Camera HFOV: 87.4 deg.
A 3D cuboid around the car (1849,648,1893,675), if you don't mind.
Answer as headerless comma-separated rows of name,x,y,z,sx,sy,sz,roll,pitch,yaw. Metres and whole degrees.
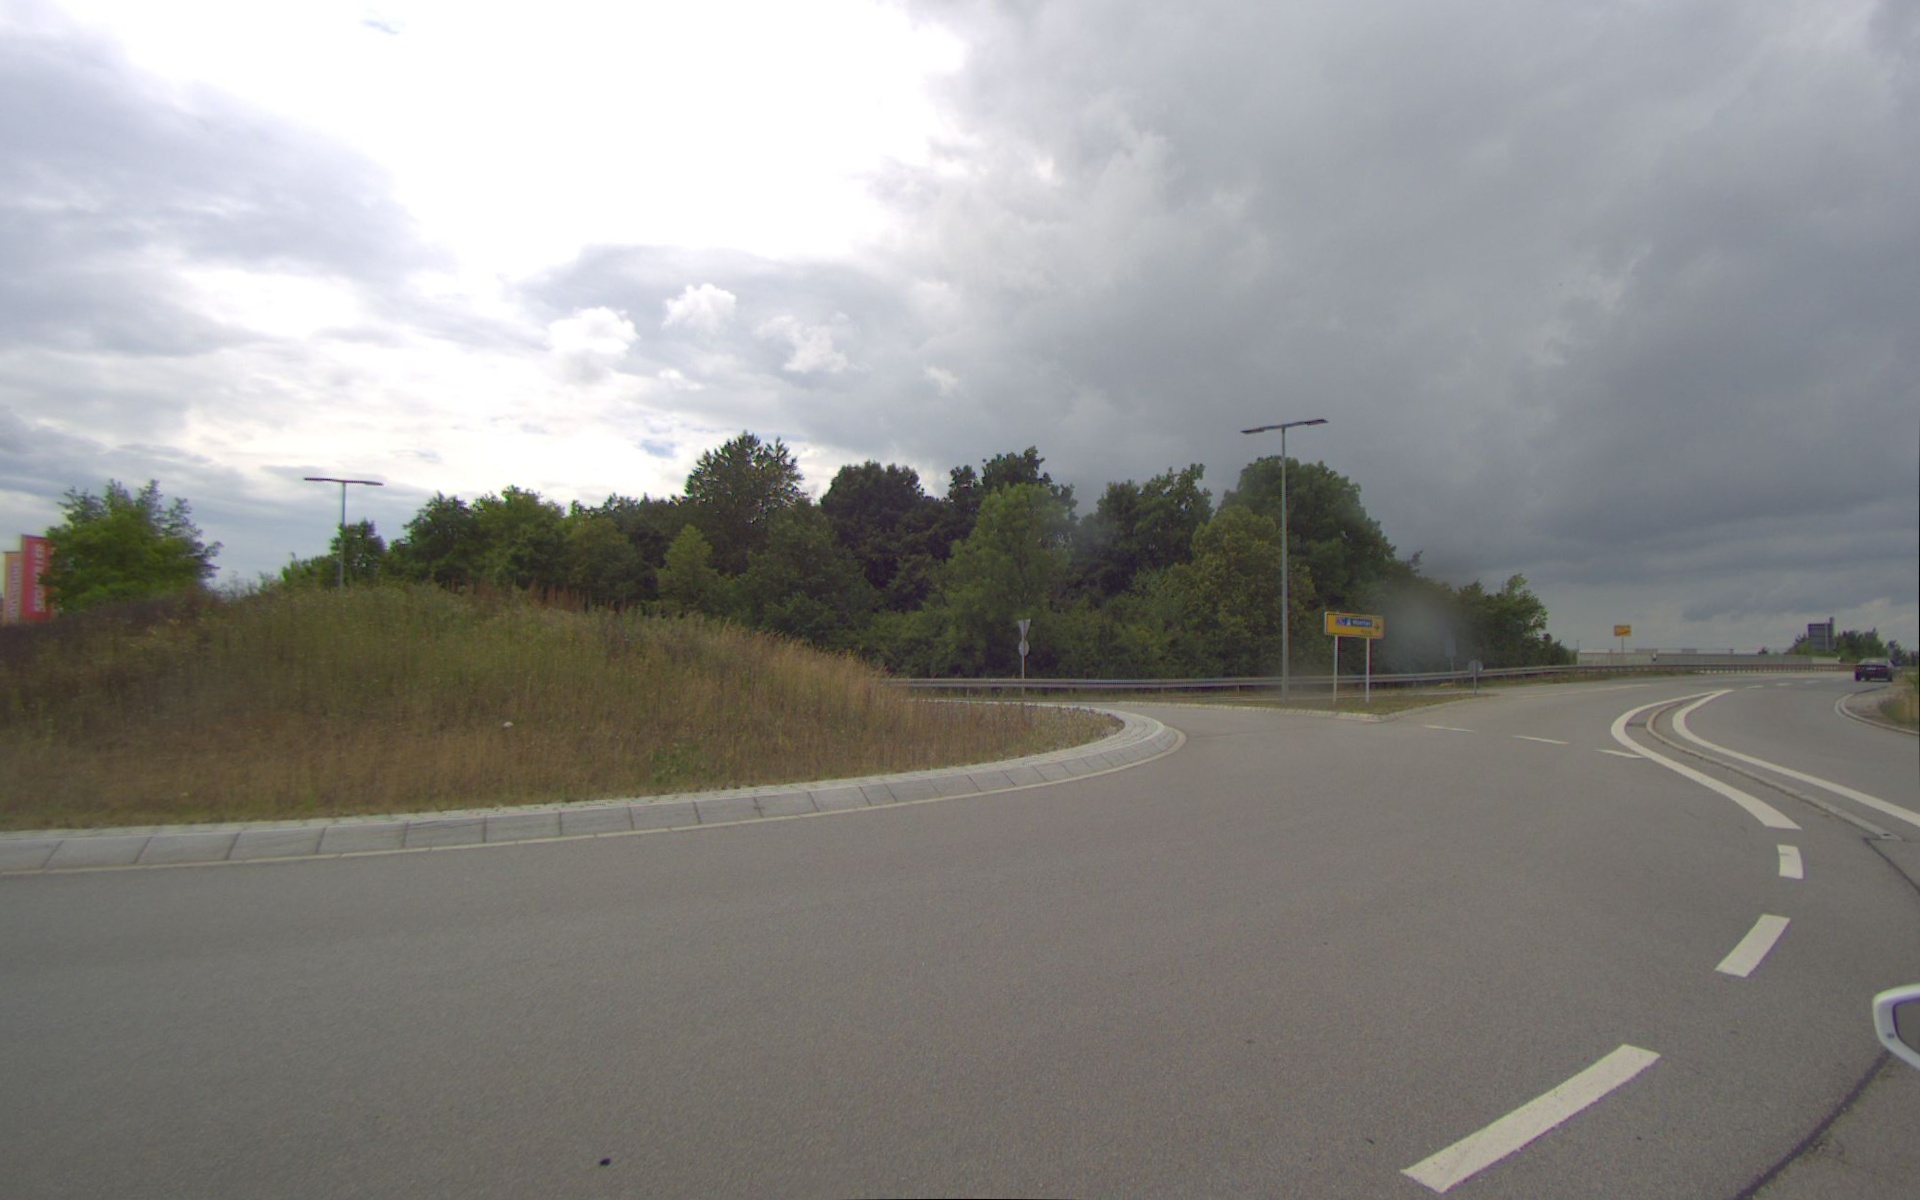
car,53.583,3.632,59.052,3.588,1.505,1.505,4,-4,-41
